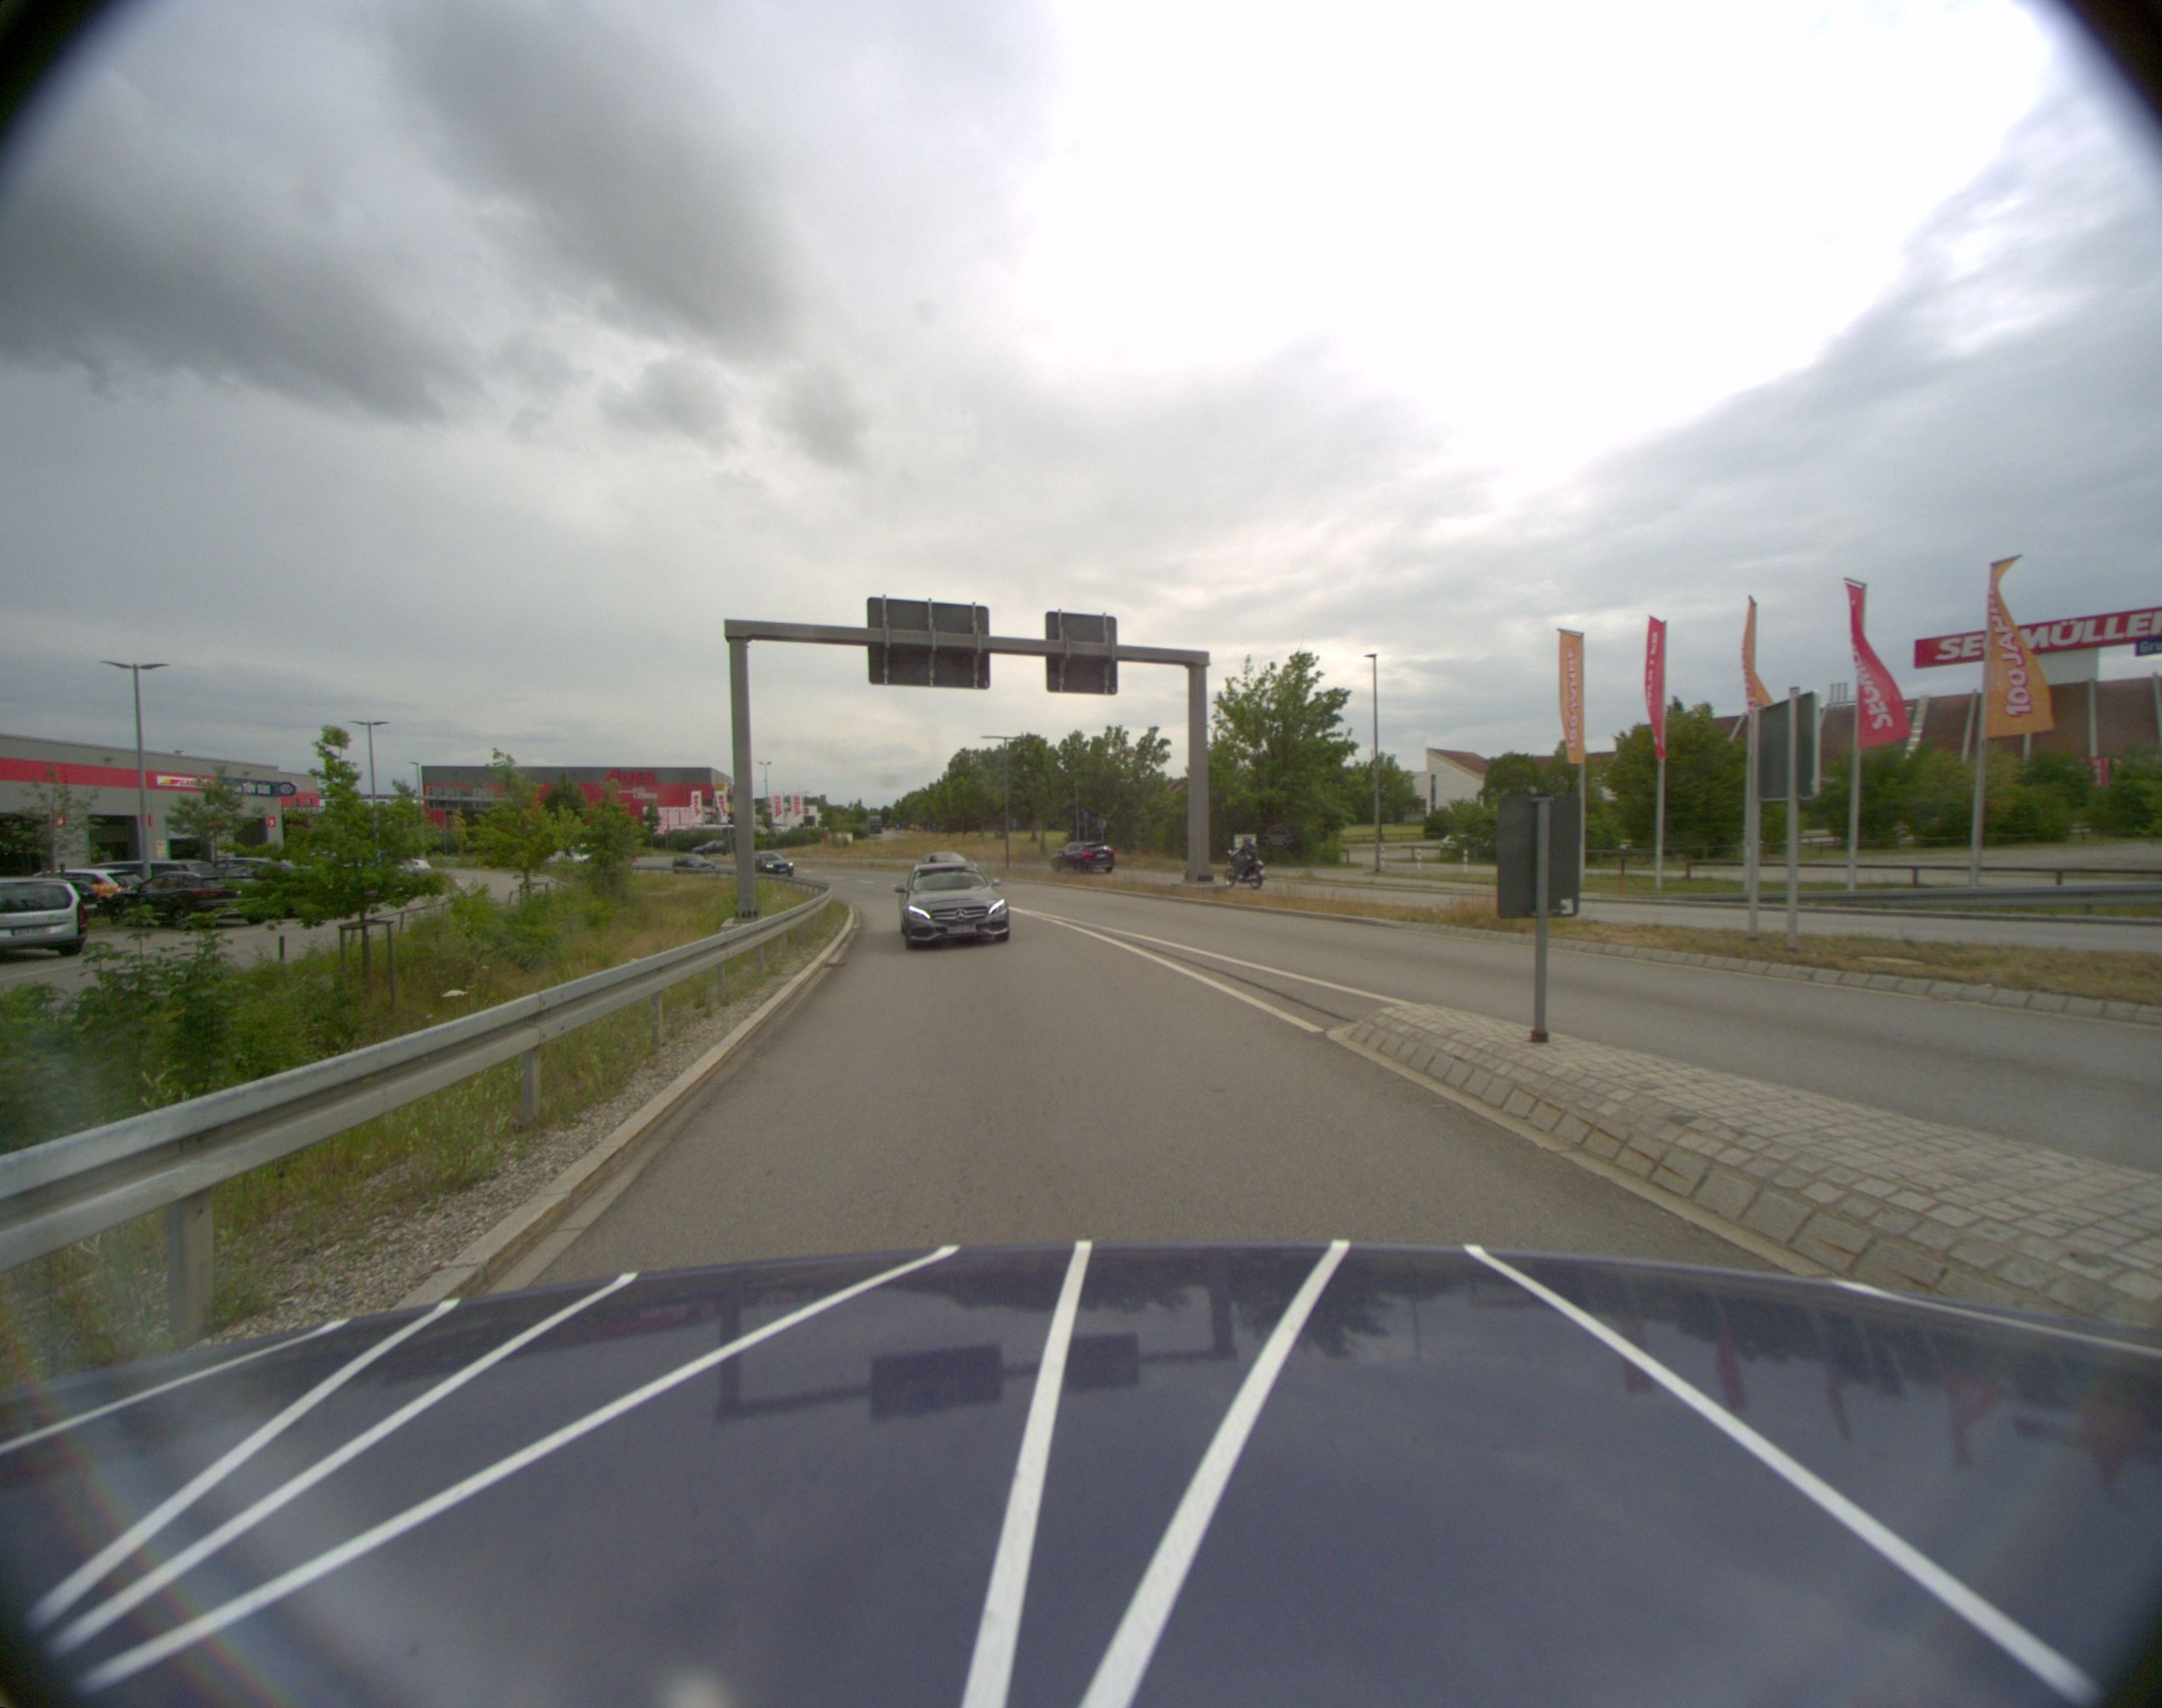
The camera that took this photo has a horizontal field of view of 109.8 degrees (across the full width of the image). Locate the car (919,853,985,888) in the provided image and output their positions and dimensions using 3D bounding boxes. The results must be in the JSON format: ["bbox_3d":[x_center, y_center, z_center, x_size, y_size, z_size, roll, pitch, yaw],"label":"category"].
[{"bbox_3d":[-5.987,0.708,34.974,1.768,1.311,3.949,-5,4,-28],"label":"car"}]

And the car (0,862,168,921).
[{"bbox_3d":[-33.072,1.211,24.841,3.703,1.536,1.587,-5,4,-22],"label":"car"}]

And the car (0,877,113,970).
[{"bbox_3d":[-24.404,1.517,17.416,4.066,1.702,1.909,2,4,27],"label":"car"}]

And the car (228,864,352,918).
[{"bbox_3d":[-26.481,1.237,25.423,4.067,1.613,1.739,-2,1,28],"label":"car"}]

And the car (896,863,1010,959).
[{"bbox_3d":[-2.488,0.956,14.545,1.766,1.412,4.087,-3,1,-11],"label":"car"}]

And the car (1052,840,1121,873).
[{"bbox_3d":[0.215,0.092,38.047,1.894,1.458,4.273,-4,2,-22],"label":"car"}]

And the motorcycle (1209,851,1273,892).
[{"bbox_3d":[5.103,0.556,24.404,0.704,1.222,2.244,-3,1,-28],"label":"motorcycle"}]

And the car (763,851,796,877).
[{"bbox_3d":[-20.269,0.662,51.142,1.862,1.404,4.547,-4,4,-21],"label":"car"}]

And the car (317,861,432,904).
[{"bbox_3d":[-29.648,1.176,31.886,4.068,1.613,1.739,1,2,18],"label":"car"}]

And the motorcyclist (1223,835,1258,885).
[{"bbox_3d":[5.109,0.182,24.395,0.675,1.567,0.845,-2,1,-28],"label":"motorcyclist"}]

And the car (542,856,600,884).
[{"bbox_3d":[-31.518,0.969,46.955,3.689,1.536,1.593,-1,4,34],"label":"car"}]

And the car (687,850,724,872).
[{"bbox_3d":[-29.224,0.512,59.125,1.864,1.404,3.927,-5,4,-36],"label":"car"}]

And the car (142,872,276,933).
[{"bbox_3d":[-26.198,1.429,22.803,4.067,1.613,1.653,-2,1,27],"label":"car"}]
